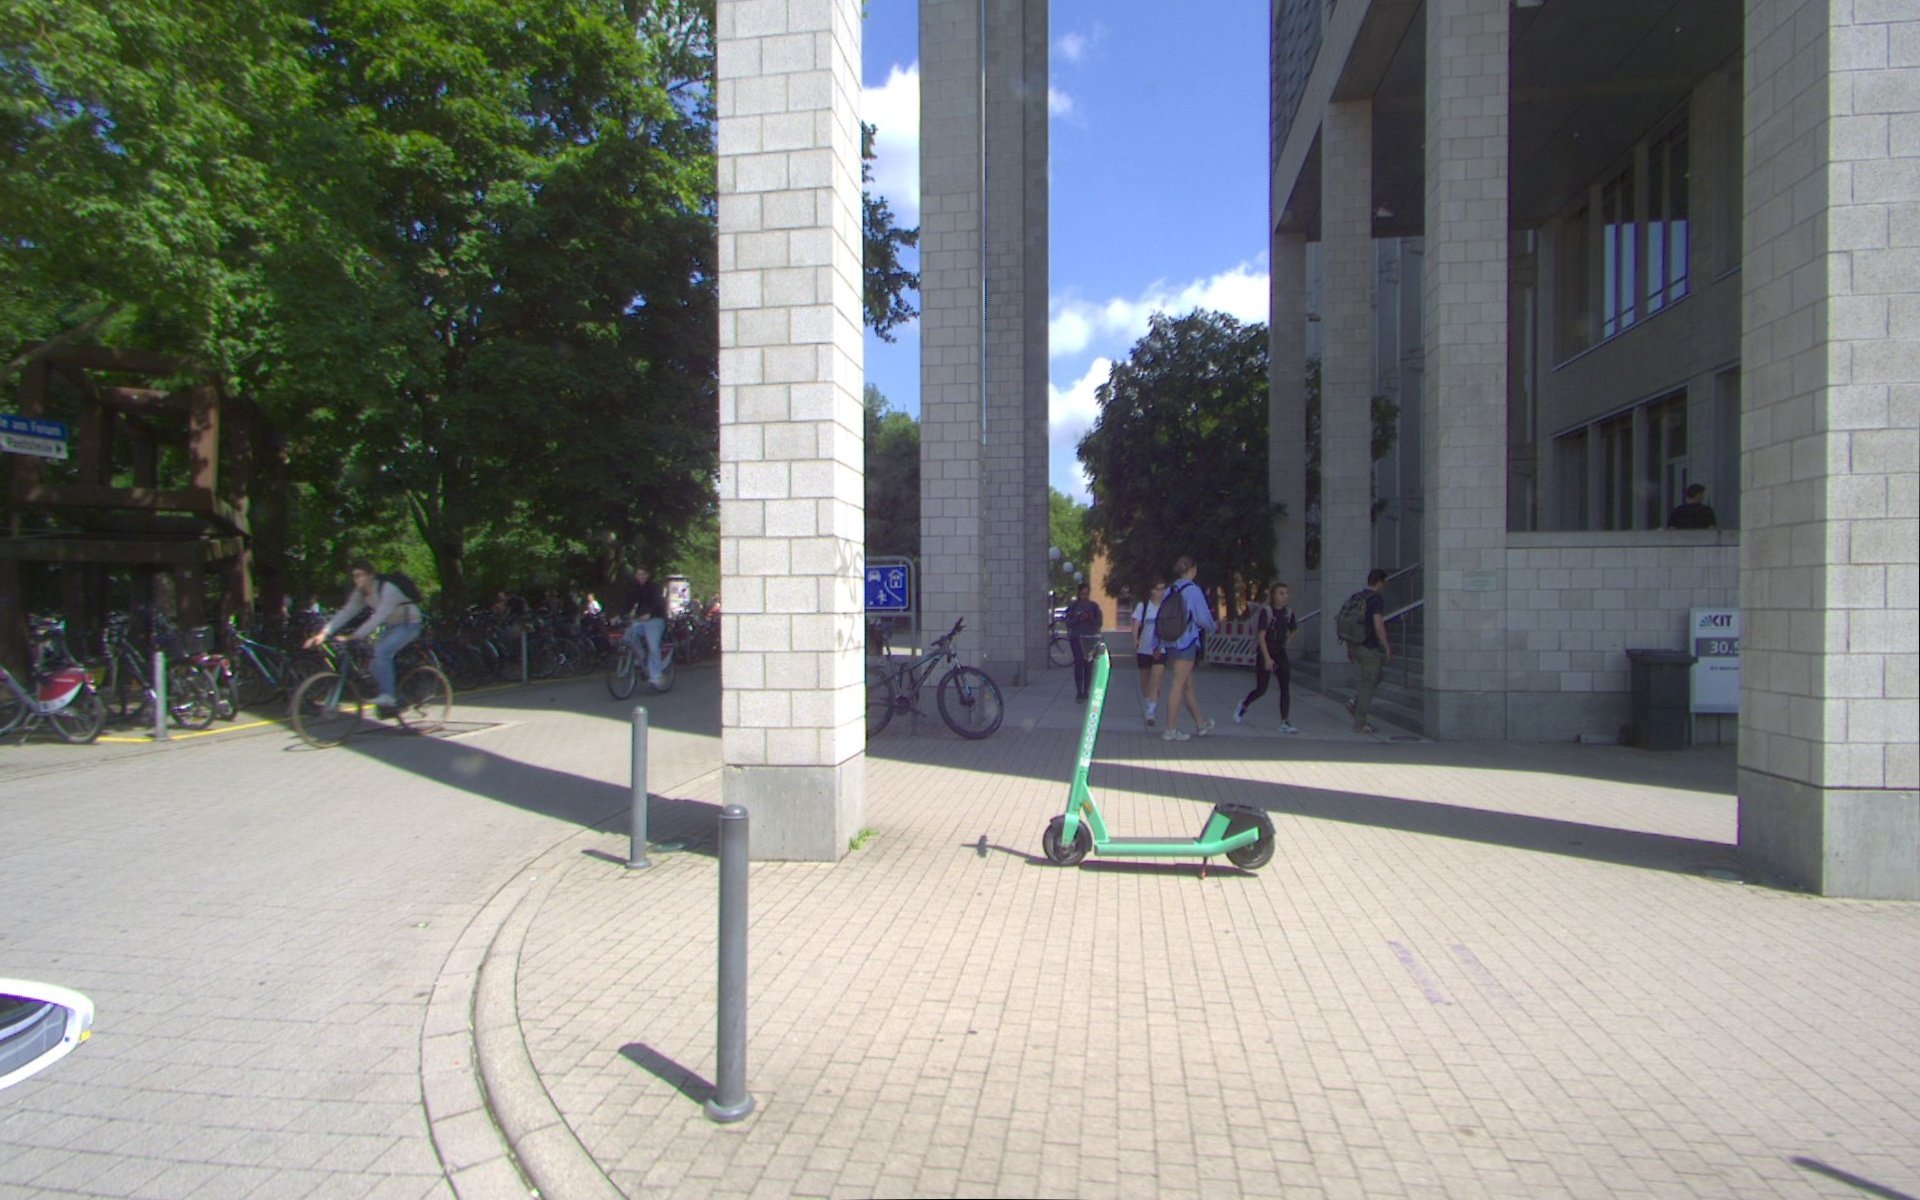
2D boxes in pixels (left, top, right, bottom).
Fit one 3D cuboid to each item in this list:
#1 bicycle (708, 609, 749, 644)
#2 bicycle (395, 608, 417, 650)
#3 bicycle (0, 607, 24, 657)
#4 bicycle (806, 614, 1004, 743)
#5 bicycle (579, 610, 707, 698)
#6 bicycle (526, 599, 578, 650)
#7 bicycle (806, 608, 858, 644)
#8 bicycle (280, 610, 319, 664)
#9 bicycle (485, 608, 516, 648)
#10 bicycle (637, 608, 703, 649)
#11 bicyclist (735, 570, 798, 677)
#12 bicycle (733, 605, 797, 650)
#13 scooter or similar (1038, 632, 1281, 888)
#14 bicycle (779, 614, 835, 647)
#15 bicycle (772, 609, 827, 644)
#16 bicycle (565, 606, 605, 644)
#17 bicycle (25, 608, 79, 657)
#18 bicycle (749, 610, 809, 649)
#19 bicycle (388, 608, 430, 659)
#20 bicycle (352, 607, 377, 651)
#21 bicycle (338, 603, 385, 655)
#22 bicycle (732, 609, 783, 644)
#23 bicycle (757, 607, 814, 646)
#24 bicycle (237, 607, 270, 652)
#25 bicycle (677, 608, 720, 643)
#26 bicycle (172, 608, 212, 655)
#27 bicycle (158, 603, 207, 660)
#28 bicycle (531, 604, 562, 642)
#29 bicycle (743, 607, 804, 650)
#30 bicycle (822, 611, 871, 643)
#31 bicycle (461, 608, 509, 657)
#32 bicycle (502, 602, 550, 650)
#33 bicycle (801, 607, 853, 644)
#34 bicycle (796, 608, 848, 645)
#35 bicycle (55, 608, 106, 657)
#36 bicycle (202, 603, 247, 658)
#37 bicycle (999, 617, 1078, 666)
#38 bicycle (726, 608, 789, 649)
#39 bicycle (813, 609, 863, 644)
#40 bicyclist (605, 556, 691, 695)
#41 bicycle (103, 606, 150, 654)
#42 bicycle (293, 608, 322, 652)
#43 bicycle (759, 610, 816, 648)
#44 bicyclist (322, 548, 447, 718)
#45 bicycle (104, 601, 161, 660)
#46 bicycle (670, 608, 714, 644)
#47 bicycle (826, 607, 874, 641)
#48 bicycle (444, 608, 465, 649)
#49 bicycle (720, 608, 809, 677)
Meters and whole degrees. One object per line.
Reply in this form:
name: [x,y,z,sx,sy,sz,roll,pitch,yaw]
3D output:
bicycle: [-7.592,0.869,32.804,1.682,1.098,0.470,1,0,45]
bicycle: [-14.898,0.773,26.936,0.467,1.098,1.691,1,0,-28]
bicycle: [-21.961,0.718,22.799,0.467,1.098,1.850,1,0,-28]
bicycle: [-0.518,0.760,9.829,1.850,1.180,0.605,-1,1,5]
bicycle: [-4.523,0.751,14.446,0.663,1.155,1.881,2,0,24]
bicycle: [-10.133,0.593,24.846,0.570,1.215,1.682,1,0,-44]
bicycle: [-4.379,0.887,34.209,1.751,1.184,0.473,1,0,23]
bicycle: [-14.386,0.783,21.806,0.497,1.122,1.685,1,0,-40]
bicycle: [-13.174,0.799,28.685,0.468,1.098,1.687,1,0,-36]
bicycle: [-8.110,0.798,28.035,1.666,1.122,0.503,1,0,-2]
bicyclist: [-3.594,0.425,18.648,0.791,1.916,0.866,2,0,18]
bicycle: [-5.429,0.772,27.891,1.666,1.214,0.537,1,0,1]
scooter or similar: [0.988,0.755,5.005,1.137,1.166,0.444,0,1,14]
bicycle: [-4.844,0.966,31.753,1.673,1.032,0.472,1,0,-26]
bicycle: [-5.149,0.848,32.161,1.673,1.076,0.472,1,0,-26]
bicycle: [-11.152,0.737,29.758,0.470,1.098,1.682,1,0,-45]
bicycle: [-20.970,0.731,23.147,0.467,1.098,1.850,1,0,-28]
bicycle: [-5.378,0.874,29.820,1.666,1.122,0.582,1,0,-2]
bicycle: [-12.743,0.767,23.141,0.497,1.122,1.685,1,0,-40]
bicycle: [-15.580,0.749,26.210,0.467,1.098,1.691,1,0,-28]
bicycle: [-13.450,0.633,22.485,0.624,1.122,1.685,1,0,-40]
bicycle: [-6.751,0.875,33.336,1.671,1.098,0.473,1,0,23]
bicycle: [-5.407,0.822,30.984,1.670,1.172,0.473,1,0,-18]
bicycle: [-17.690,0.721,25.093,0.467,1.098,1.691,1,0,-28]
bicycle: [-8.451,0.819,32.367,1.679,1.098,0.470,1,0,41]
bicycle: [-18.605,0.751,24.287,0.467,1.098,1.850,1,0,-28]
bicycle: [-16.151,0.637,20.824,0.495,1.122,1.771,1,0,-28]
bicycle: [-12.098,0.662,29.271,0.468,1.098,1.687,1,0,-36]
bicycle: [-5.451,0.834,29.296,1.666,1.203,0.474,1,0,-2]
bicycle: [-4.063,0.957,35.791,1.666,1.105,0.474,1,0,3]
bicycle: [-11.335,0.755,23.859,0.498,1.122,1.682,1,0,-44]
bicycle: [-10.591,0.619,24.436,0.498,1.122,1.682,1,0,-44]
bicycle: [-4.434,0.859,33.498,1.667,1.184,0.474,1,0,-3]
bicycle: [-4.545,0.858,32.967,1.667,1.184,0.474,1,0,-8]
bicycle: [-20.493,0.739,23.359,0.467,1.098,1.850,1,0,-28]
bicycle: [-15.515,0.621,21.148,0.495,1.122,1.771,1,0,-28]
bicycle: [1.735,0.922,22.199,1.710,1.053,0.449,0,1,5]
bicycle: [-5.817,0.819,28.798,1.666,1.122,0.566,1,0,-2]
bicycle: [-4.271,0.916,35.054,1.666,1.184,0.474,1,0,3]
bicyclist: [-4.494,0.357,14.459,0.663,1.912,0.966,2,0,24]
bicycle: [-19.704,0.687,23.693,0.467,1.098,1.850,1,0,-28]
bicycle: [-16.945,0.756,26.006,0.467,1.098,1.691,1,0,-28]
bicycle: [-5.264,0.894,30.542,1.670,1.122,0.473,1,0,-18]
bicyclist: [-5.660,0.305,9.873,0.631,1.595,0.870,2,1,32]
bicycle: [-16.652,0.596,20.185,0.495,1.122,1.898,1,0,-28]
bicycle: [-8.495,0.815,31.754,1.679,1.098,0.470,1,0,41]
bicycle: [-3.965,0.861,36.250,1.666,1.174,0.474,1,0,1]
bicycle: [-14.025,0.782,27.770,0.467,1.098,1.691,1,0,-28]
bicycle: [-3.607,0.775,18.668,0.791,1.187,1.884,2,0,18]
